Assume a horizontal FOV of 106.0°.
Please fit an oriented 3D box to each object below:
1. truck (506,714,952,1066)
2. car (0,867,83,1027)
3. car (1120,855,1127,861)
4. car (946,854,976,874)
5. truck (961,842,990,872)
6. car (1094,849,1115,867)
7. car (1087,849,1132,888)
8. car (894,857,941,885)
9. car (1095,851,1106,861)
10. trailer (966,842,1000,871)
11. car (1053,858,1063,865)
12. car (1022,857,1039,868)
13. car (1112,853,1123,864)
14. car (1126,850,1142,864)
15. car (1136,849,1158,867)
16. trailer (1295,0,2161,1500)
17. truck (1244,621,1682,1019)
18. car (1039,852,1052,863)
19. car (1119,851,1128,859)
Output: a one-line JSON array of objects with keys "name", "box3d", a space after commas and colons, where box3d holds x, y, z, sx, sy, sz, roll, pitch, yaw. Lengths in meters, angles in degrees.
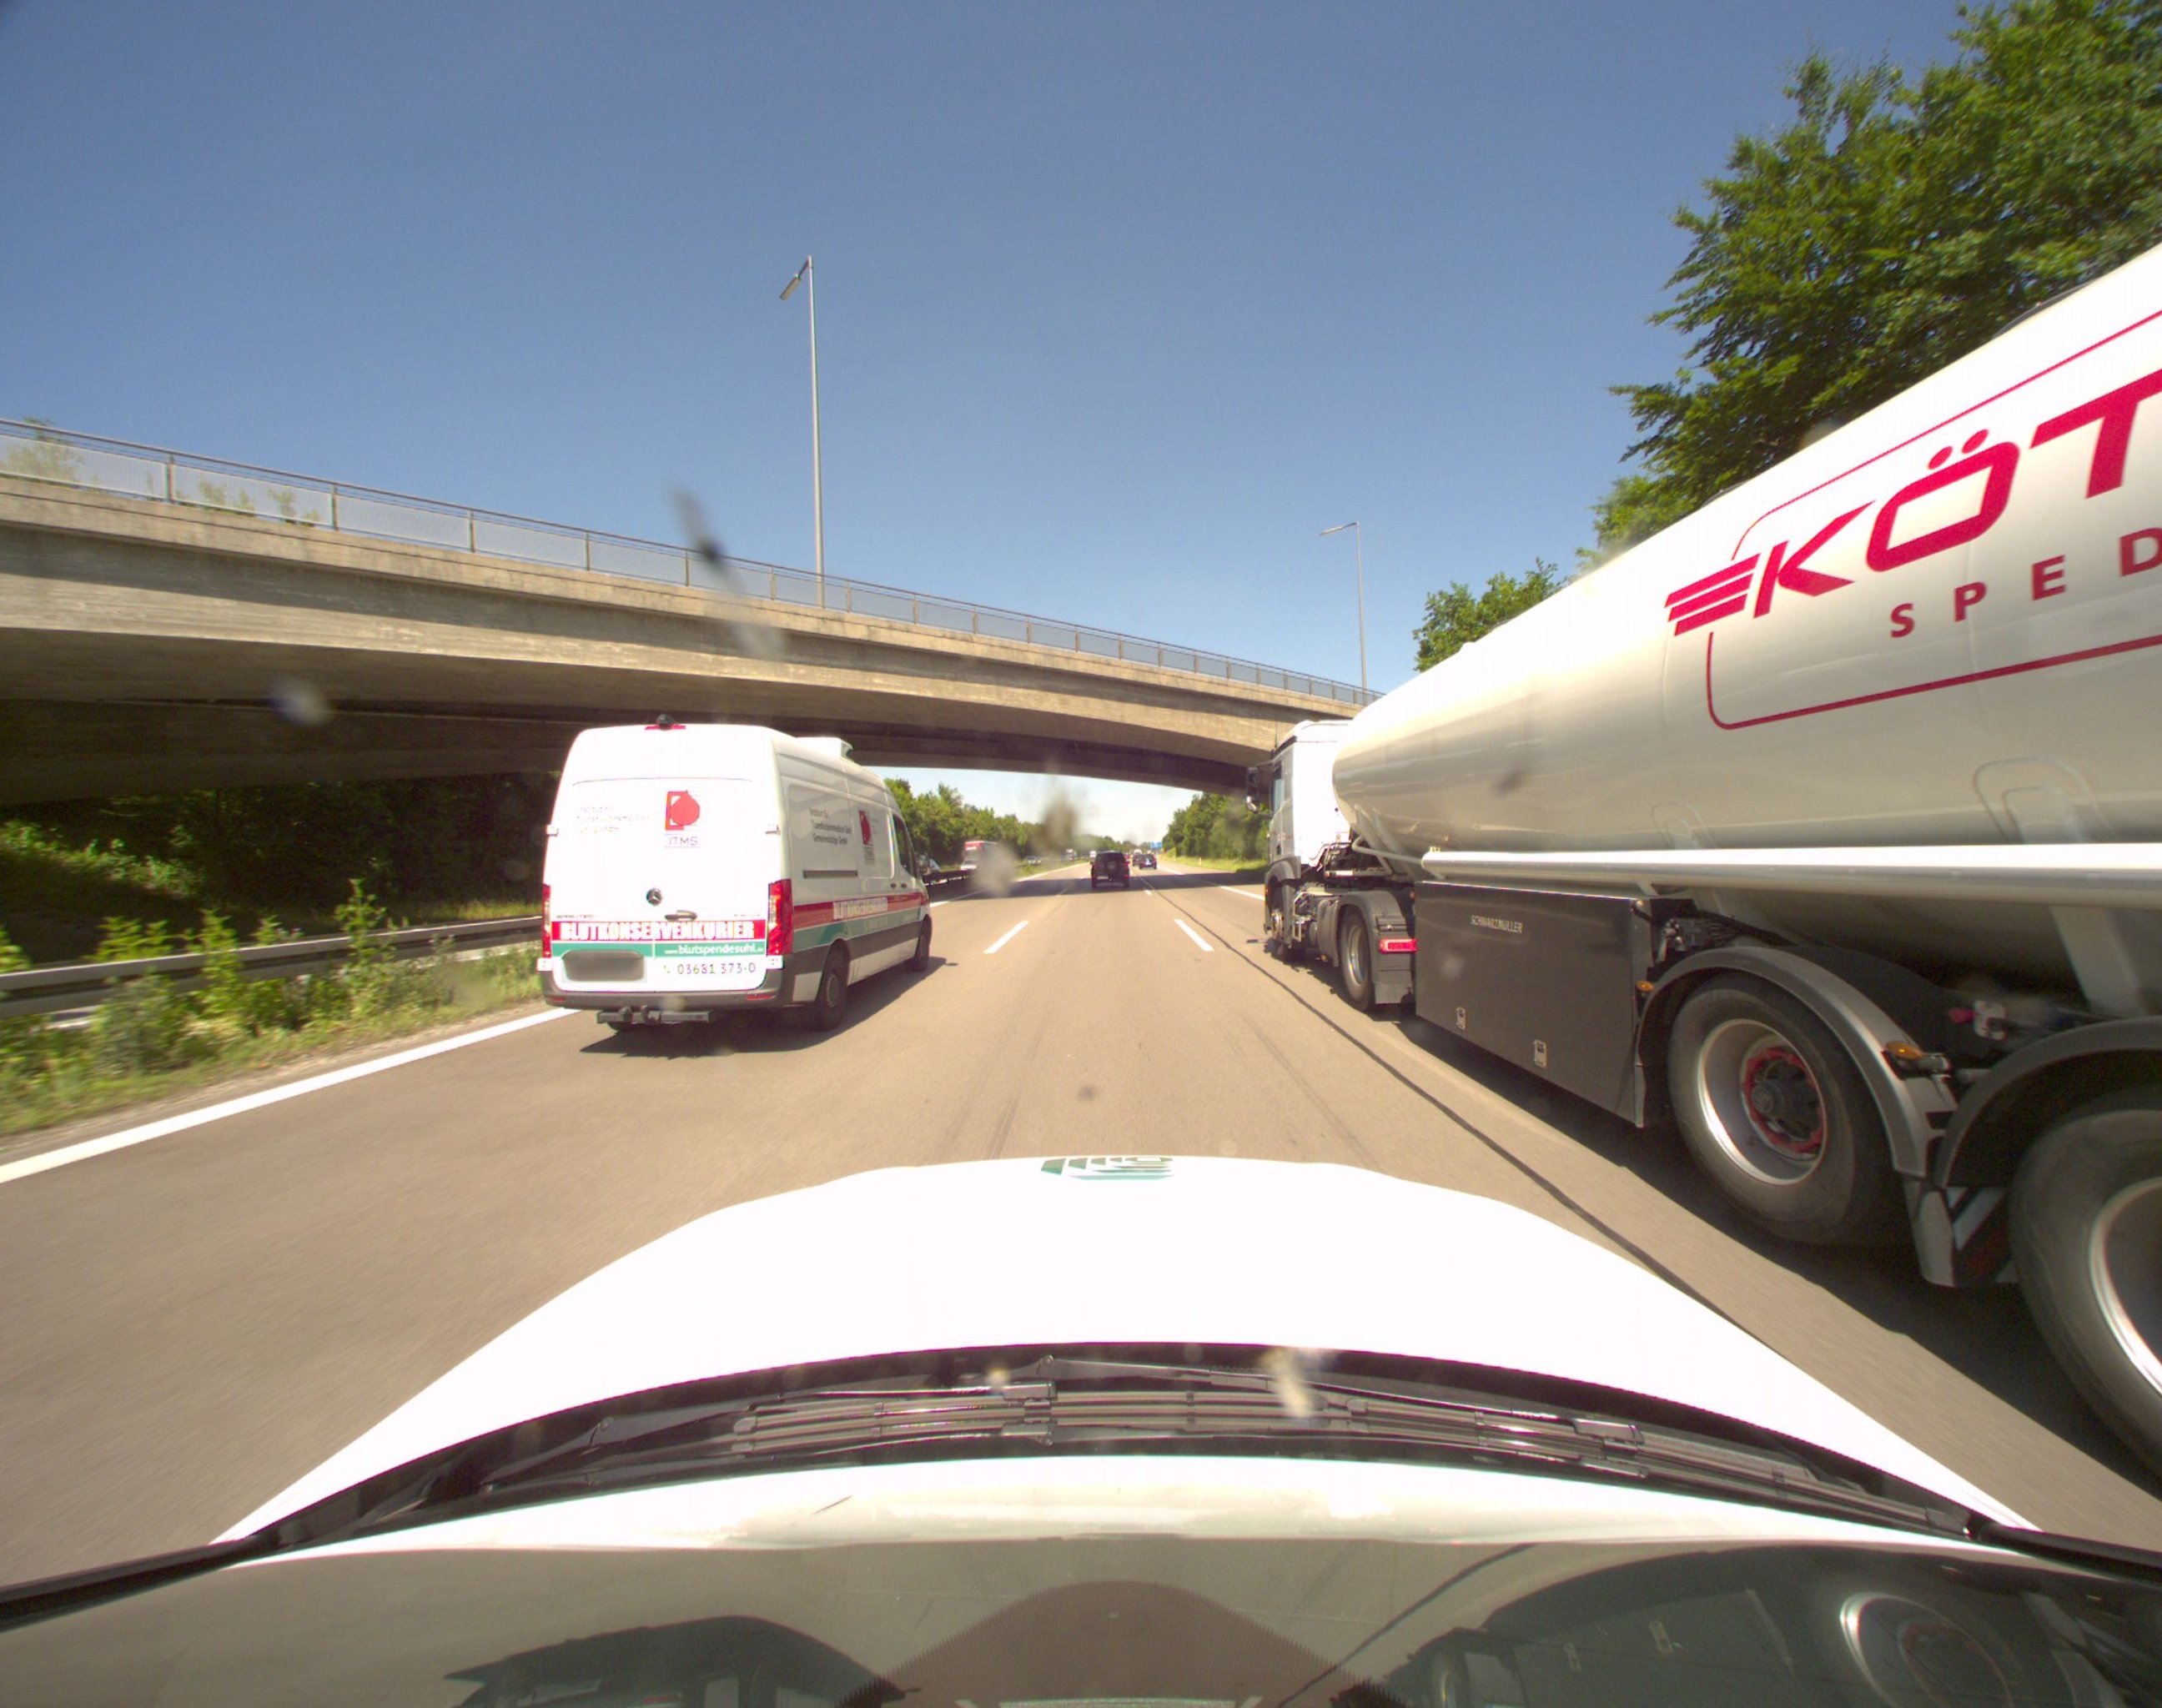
[{"name": "truck", "box3d": [-3.092, 0.257, 9.259, 1.986, 2.542, 6.694, 0, 0, 2]}, {"name": "car", "box3d": [-11.381, 0.931, 6.095, 1.853, 1.527, 4.753, -2, 0, 1]}, {"name": "car", "box3d": [12.009, 1.172, 231.345, 1.806, 1.746, 4.000, -2, 0, 0]}, {"name": "car", "box3d": [-9.969, 0.808, 68.055, 1.676, 1.481, 4.350, -2, 0, 2]}, {"name": "truck", "box3d": [-15.092, 0.399, 116.875, 2.774, 4.060, 6.213, -4, 0, 2]}, {"name": "car", "box3d": [2.409, 0.438, 83.010, 1.986, 1.706, 4.337, -3, 0, 2]}, {"name": "car", "box3d": [1.298, 0.658, 38.687, 1.900, 1.665, 3.999, -2, 0, 0]}, {"name": "car", "box3d": [-9.736, 0.987, 48.736, 1.768, 1.473, 4.421, -4, 0, 1]}, {"name": "car", "box3d": [4.026, 0.414, 168.642, 1.984, 2.013, 4.956, -3, 0, 4]}, {"name": "trailer", "box3d": [-14.774, 0.332, 123.811, 2.774, 4.040, 13.556, -4, 0, 3]}, {"name": "car", "box3d": [-4.876, 1.589, 171.162, 1.718, 1.375, 4.547, -2, 0, 2]}, {"name": "car", "box3d": [-7.133, 1.159, 114.477, 1.874, 1.483, 4.437, -2, 0, 2]}, {"name": "car", "box3d": [7.368, 0.869, 164.028, 1.986, 2.013, 4.769, -2, 0, 1]}, {"name": "car", "box3d": [6.632, 0.402, 102.693, 1.835, 1.611, 4.001, -2, -1, 2]}, {"name": "car", "box3d": [6.648, 0.421, 82.606, 1.986, 1.684, 4.002, -2, -1, 2]}, {"name": "trailer", "box3d": [3.705, -0.300, 3.907, 2.638, 3.390, 11.154, -1, 0, 1]}, {"name": "truck", "box3d": [3.912, -0.281, 10.217, 2.628, 3.374, 6.491, -1, 0, 2]}, {"name": "car", "box3d": [-7.495, 0.776, 173.278, 1.985, 2.235, 6.521, -2, -1, 3]}, {"name": "car", "box3d": [10.315, 0.214, 198.246, 1.987, 1.750, 4.205, -2, 0, 1]}]
